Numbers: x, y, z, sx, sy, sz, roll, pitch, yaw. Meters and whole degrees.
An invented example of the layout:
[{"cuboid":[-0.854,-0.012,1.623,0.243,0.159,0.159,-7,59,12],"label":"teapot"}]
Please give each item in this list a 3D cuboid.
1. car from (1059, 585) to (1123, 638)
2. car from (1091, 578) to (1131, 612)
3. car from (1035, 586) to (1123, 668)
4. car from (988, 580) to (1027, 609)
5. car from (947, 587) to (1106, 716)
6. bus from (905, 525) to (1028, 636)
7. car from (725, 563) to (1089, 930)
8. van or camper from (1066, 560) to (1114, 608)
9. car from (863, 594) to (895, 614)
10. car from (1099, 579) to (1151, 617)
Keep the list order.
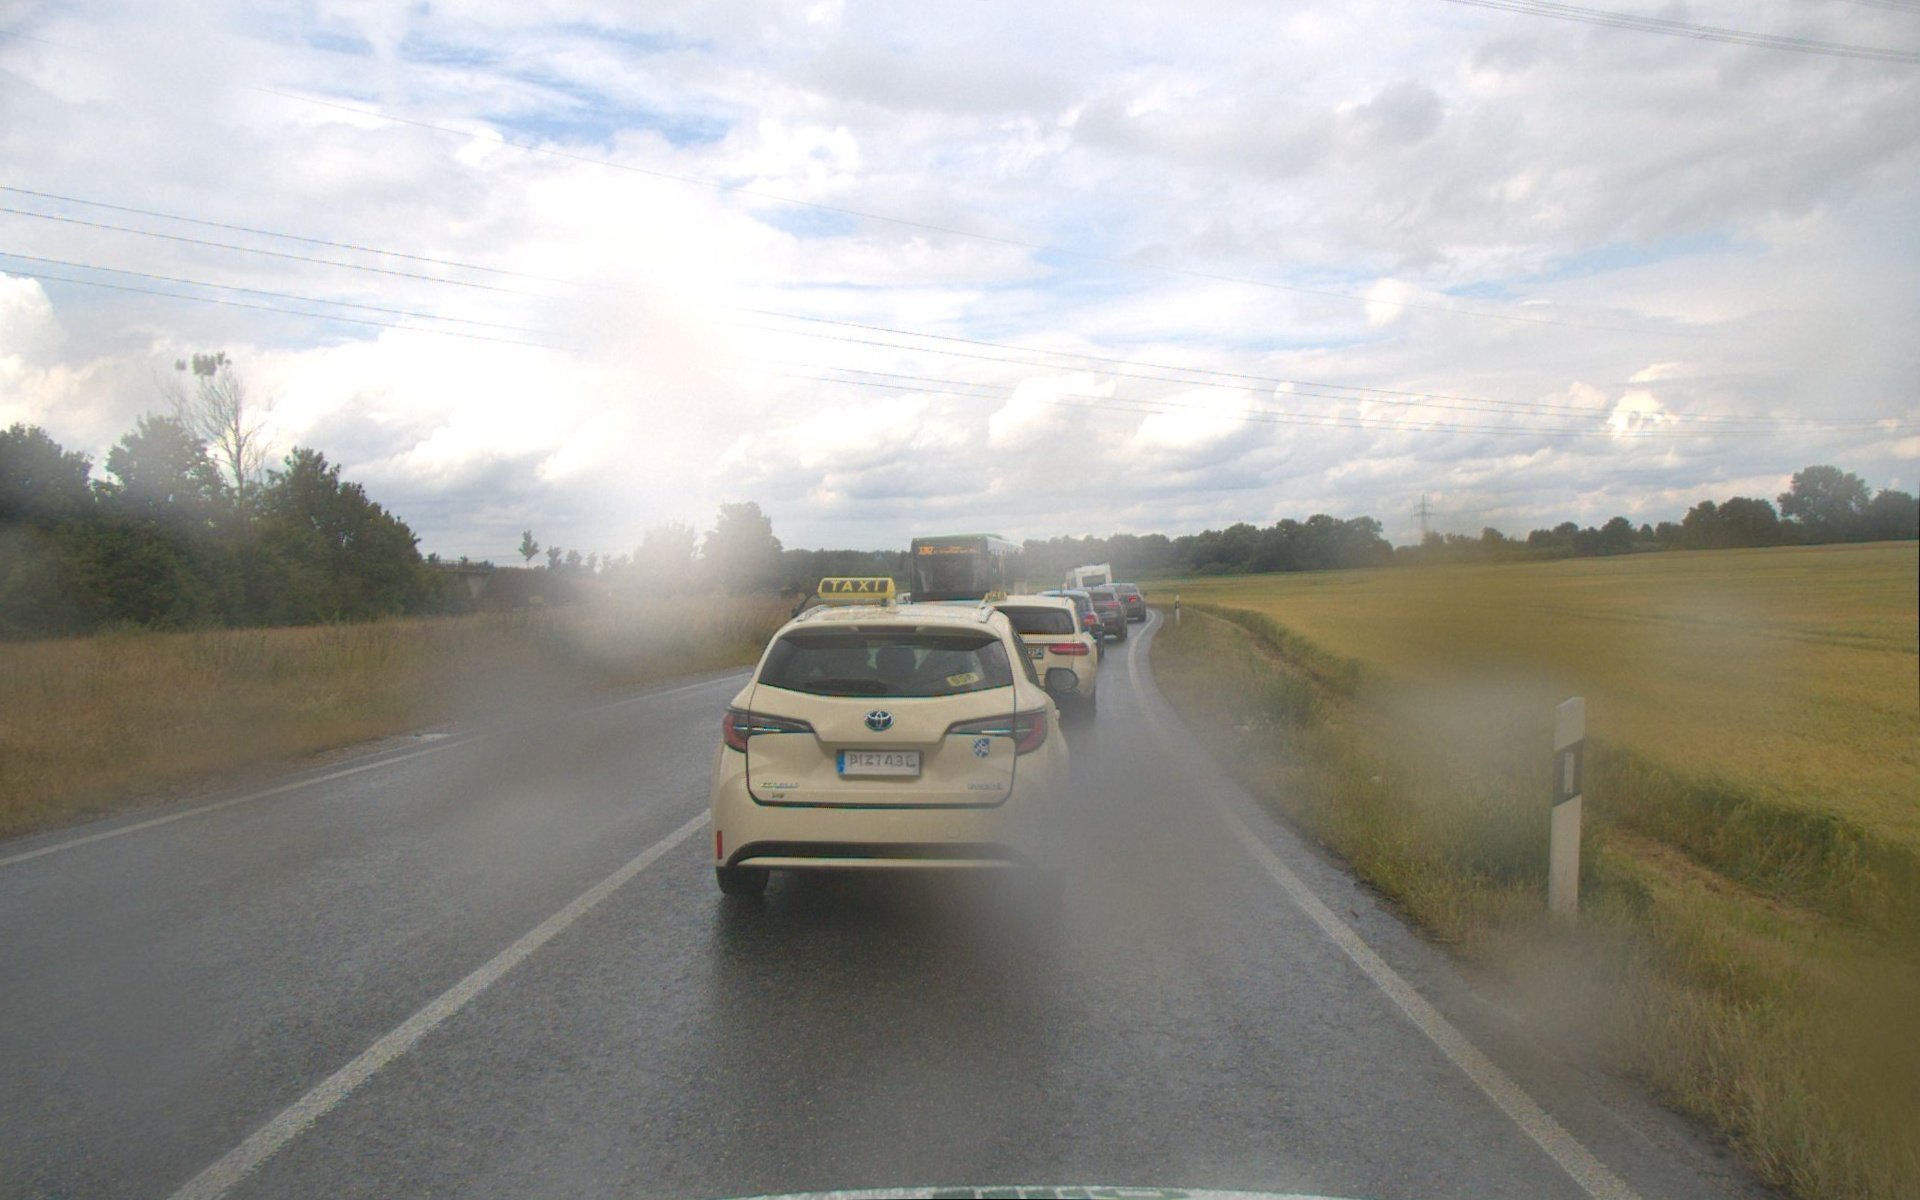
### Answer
[{"cuboid":[3.762,0.333,47.047,1.578,1.438,3.741,0,-1,8],"label":"car"},{"cuboid":[8.346,-0.256,91.644,1.919,1.759,3.738,0,-1,0],"label":"car"},{"cuboid":[2.648,0.592,36.095,1.578,1.688,3.741,0,-1,9],"label":"car"},{"cuboid":[2.236,-0.261,77.241,1.683,1.273,4.002,0,-1,4],"label":"car"},{"cuboid":[0.985,0.594,21.846,1.802,1.518,4.611,0,0,6],"label":"car"},{"cuboid":[0.435,-0.619,56.011,2.699,3.355,12.512,0,0,7],"label":"bus"},{"cuboid":[-0.172,0.662,9.085,1.579,1.590,3.739,0,-1,2],"label":"car"},{"cuboid":[8.325,-1.021,106.811,2.485,2.946,6.741,0,0,-1],"label":"van or camper"},{"cuboid":[-7.781,0.396,158.586,1.856,1.804,4.133,1,-1,-21],"label":"car"},{"cuboid":[6.661,-0.057,66.474,1.918,1.438,4.395,0,-1,7],"label":"car"}]
